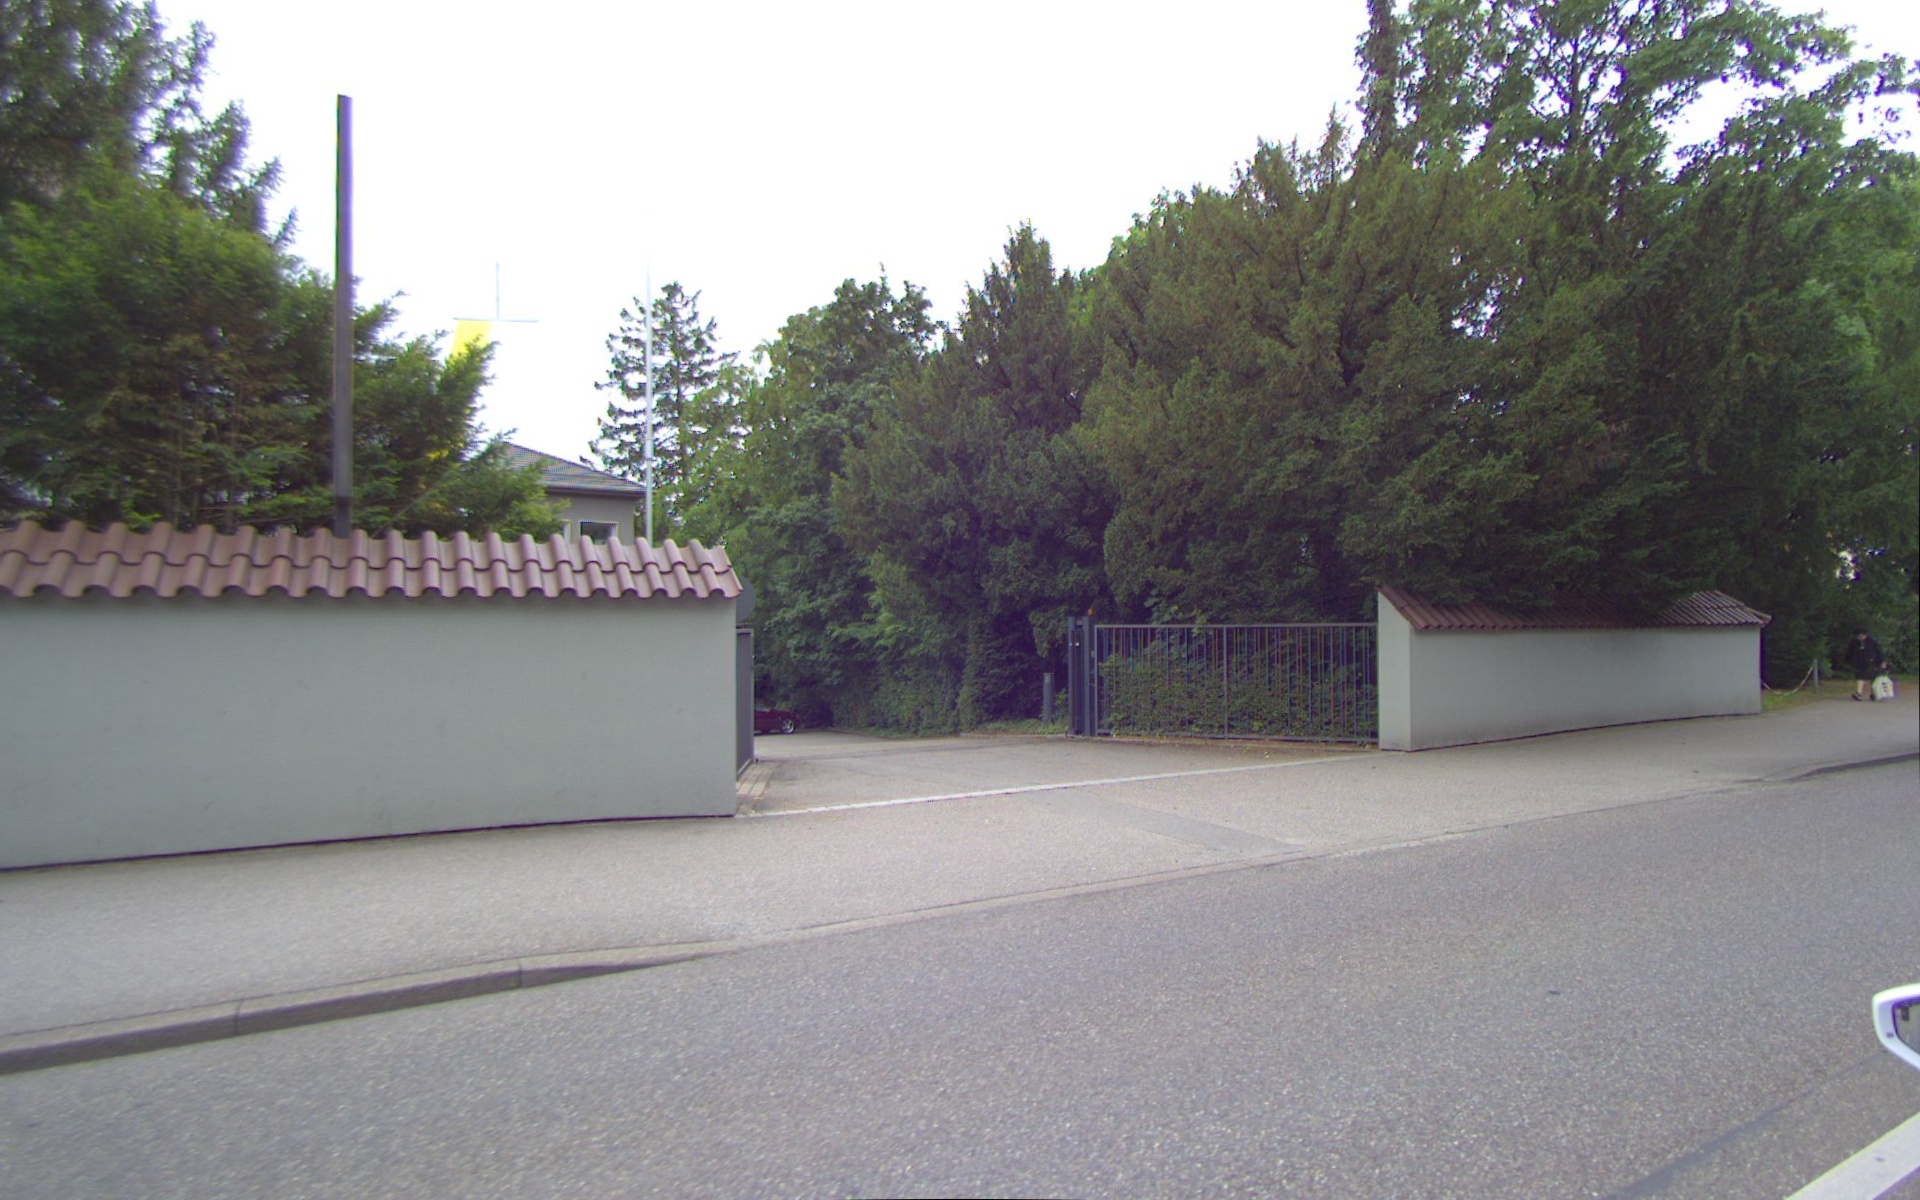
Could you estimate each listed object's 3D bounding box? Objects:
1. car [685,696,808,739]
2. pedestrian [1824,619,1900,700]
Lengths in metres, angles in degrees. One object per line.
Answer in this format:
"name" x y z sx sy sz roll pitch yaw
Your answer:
"car" -8.275 4.520 39.166 1.838 1.408 4.533 -4 -5 40
"pedestrian" 18.598 1.221 20.710 0.893 1.581 0.920 2 1 -34
